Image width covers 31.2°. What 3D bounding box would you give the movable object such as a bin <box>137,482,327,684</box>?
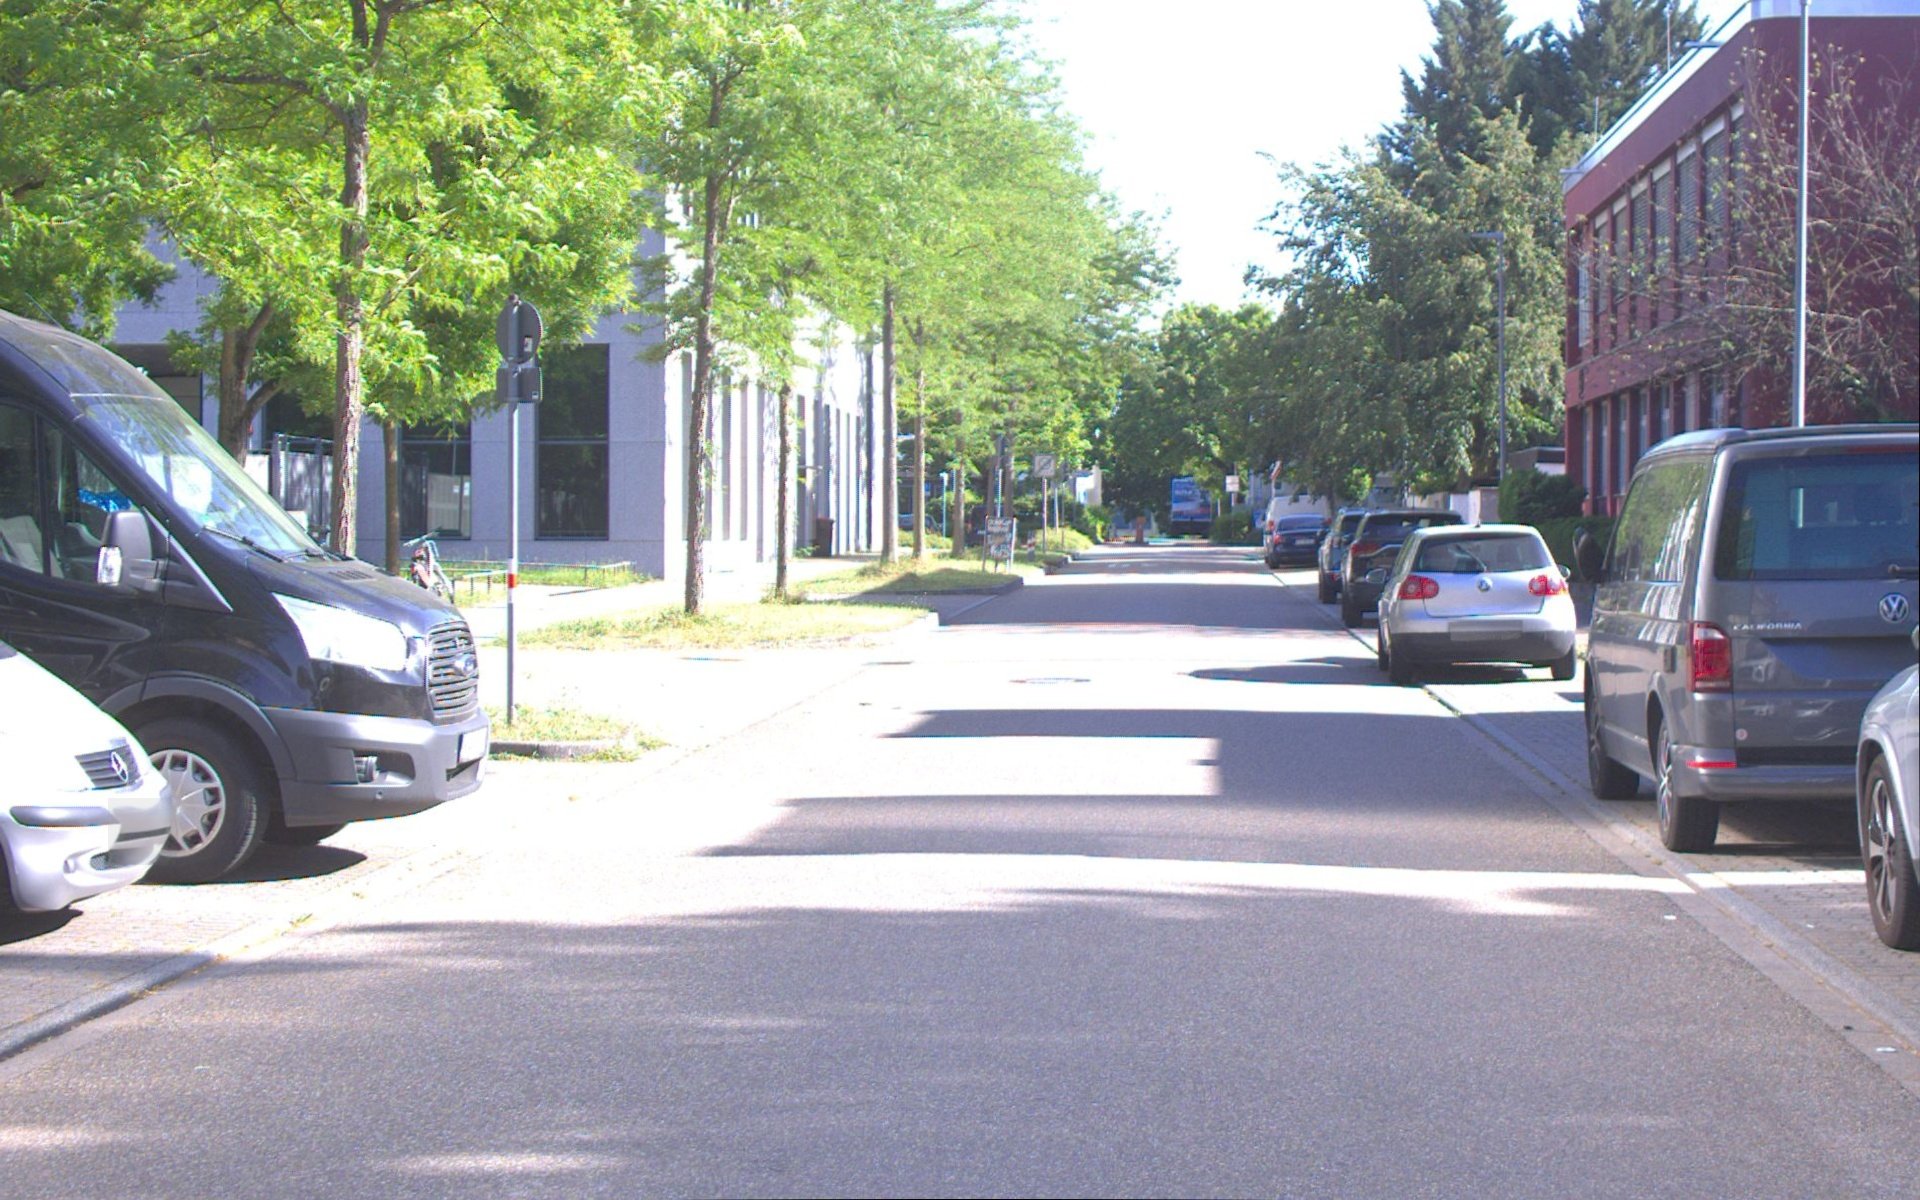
[{"bbox_3d":[-5.236,-0.136,24.663,1.293,1.409,1.228,0,2,-14],"label":"movable object such as a bin"}]

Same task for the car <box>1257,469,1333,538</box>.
[{"bbox_3d":[9.477,-2.746,97.422,1.994,1.828,4.000,-3,2,5],"label":"car"}]

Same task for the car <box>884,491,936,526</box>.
[{"bbox_3d":[-1.957,-3.608,134.624,1.905,1.337,3.793,0,2,1],"label":"car"}]

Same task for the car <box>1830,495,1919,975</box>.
[{"bbox_3d":[4.092,0.453,10.852,1.826,1.623,4.293,-1,1,4],"label":"car"}]

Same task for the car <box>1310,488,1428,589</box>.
[{"bbox_3d":[6.959,-1.083,58.791,1.855,1.642,4.000,0,2,5],"label":"car"}]

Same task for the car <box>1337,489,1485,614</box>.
[{"bbox_3d":[6.220,-0.713,47.801,1.838,1.628,4.201,0,2,5],"label":"car"}]

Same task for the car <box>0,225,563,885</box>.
[{"bbox_3d":[-4.716,-0.293,15.289,5.455,2.613,2.231,3,1,4],"label":"car"}]

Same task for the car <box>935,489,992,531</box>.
[{"bbox_3d":[0.140,-3.235,123.910,1.993,1.453,3.793,1,1,1],"label":"car"}]

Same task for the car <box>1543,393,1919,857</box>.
[{"bbox_3d":[4.206,0.051,17.417,1.943,2.015,4.825,-1,1,4],"label":"car"}]

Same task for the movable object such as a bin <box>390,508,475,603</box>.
[{"bbox_3d":[-6.754,-0.582,44.099,0.663,1.177,1.935,0,2,4],"label":"movable object such as a bin"}]

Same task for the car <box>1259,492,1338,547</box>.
[{"bbox_3d":[8.973,-2.142,91.439,1.994,1.437,4.000,1,1,4],"label":"car"}]

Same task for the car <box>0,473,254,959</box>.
[{"bbox_3d":[-4.764,0.306,12.698,3.831,1.639,1.892,2,1,2],"label":"car"}]

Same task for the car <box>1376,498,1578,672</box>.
[{"bbox_3d":[4.962,-0.193,33.393,1.660,1.556,3.934,0,2,5],"label":"car"}]
